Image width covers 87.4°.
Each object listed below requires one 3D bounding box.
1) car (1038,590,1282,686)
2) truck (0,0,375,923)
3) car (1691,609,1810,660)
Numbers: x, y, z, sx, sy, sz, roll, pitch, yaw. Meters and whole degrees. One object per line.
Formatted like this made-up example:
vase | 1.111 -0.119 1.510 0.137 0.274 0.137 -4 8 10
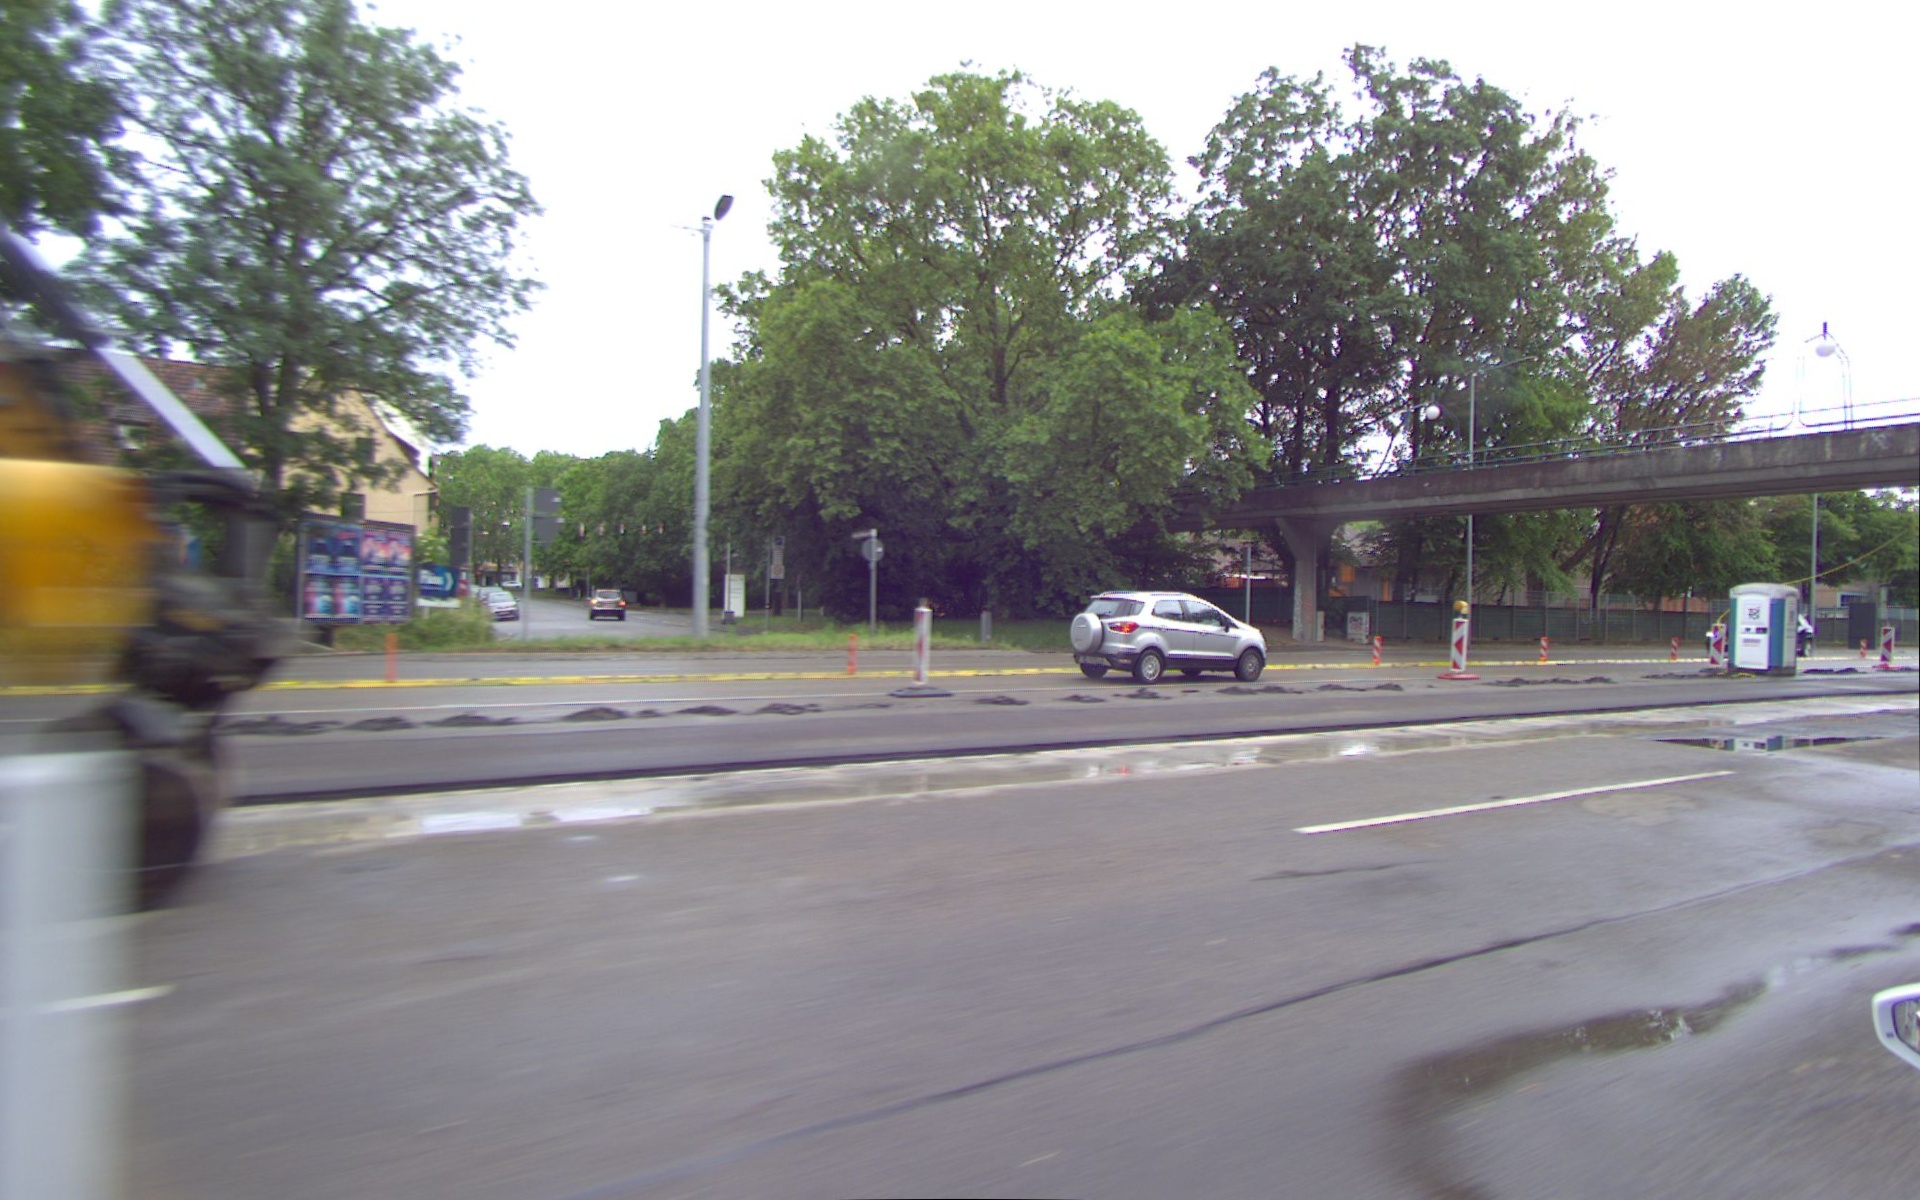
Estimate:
car | 3.793 0.687 18.860 4.313 1.585 1.879 2 1 -30
truck | -7.823 -1.060 2.633 10.647 4.316 2.878 2 0 -35
car | 30.005 1.327 38.098 4.551 1.830 1.963 2 -1 -29
